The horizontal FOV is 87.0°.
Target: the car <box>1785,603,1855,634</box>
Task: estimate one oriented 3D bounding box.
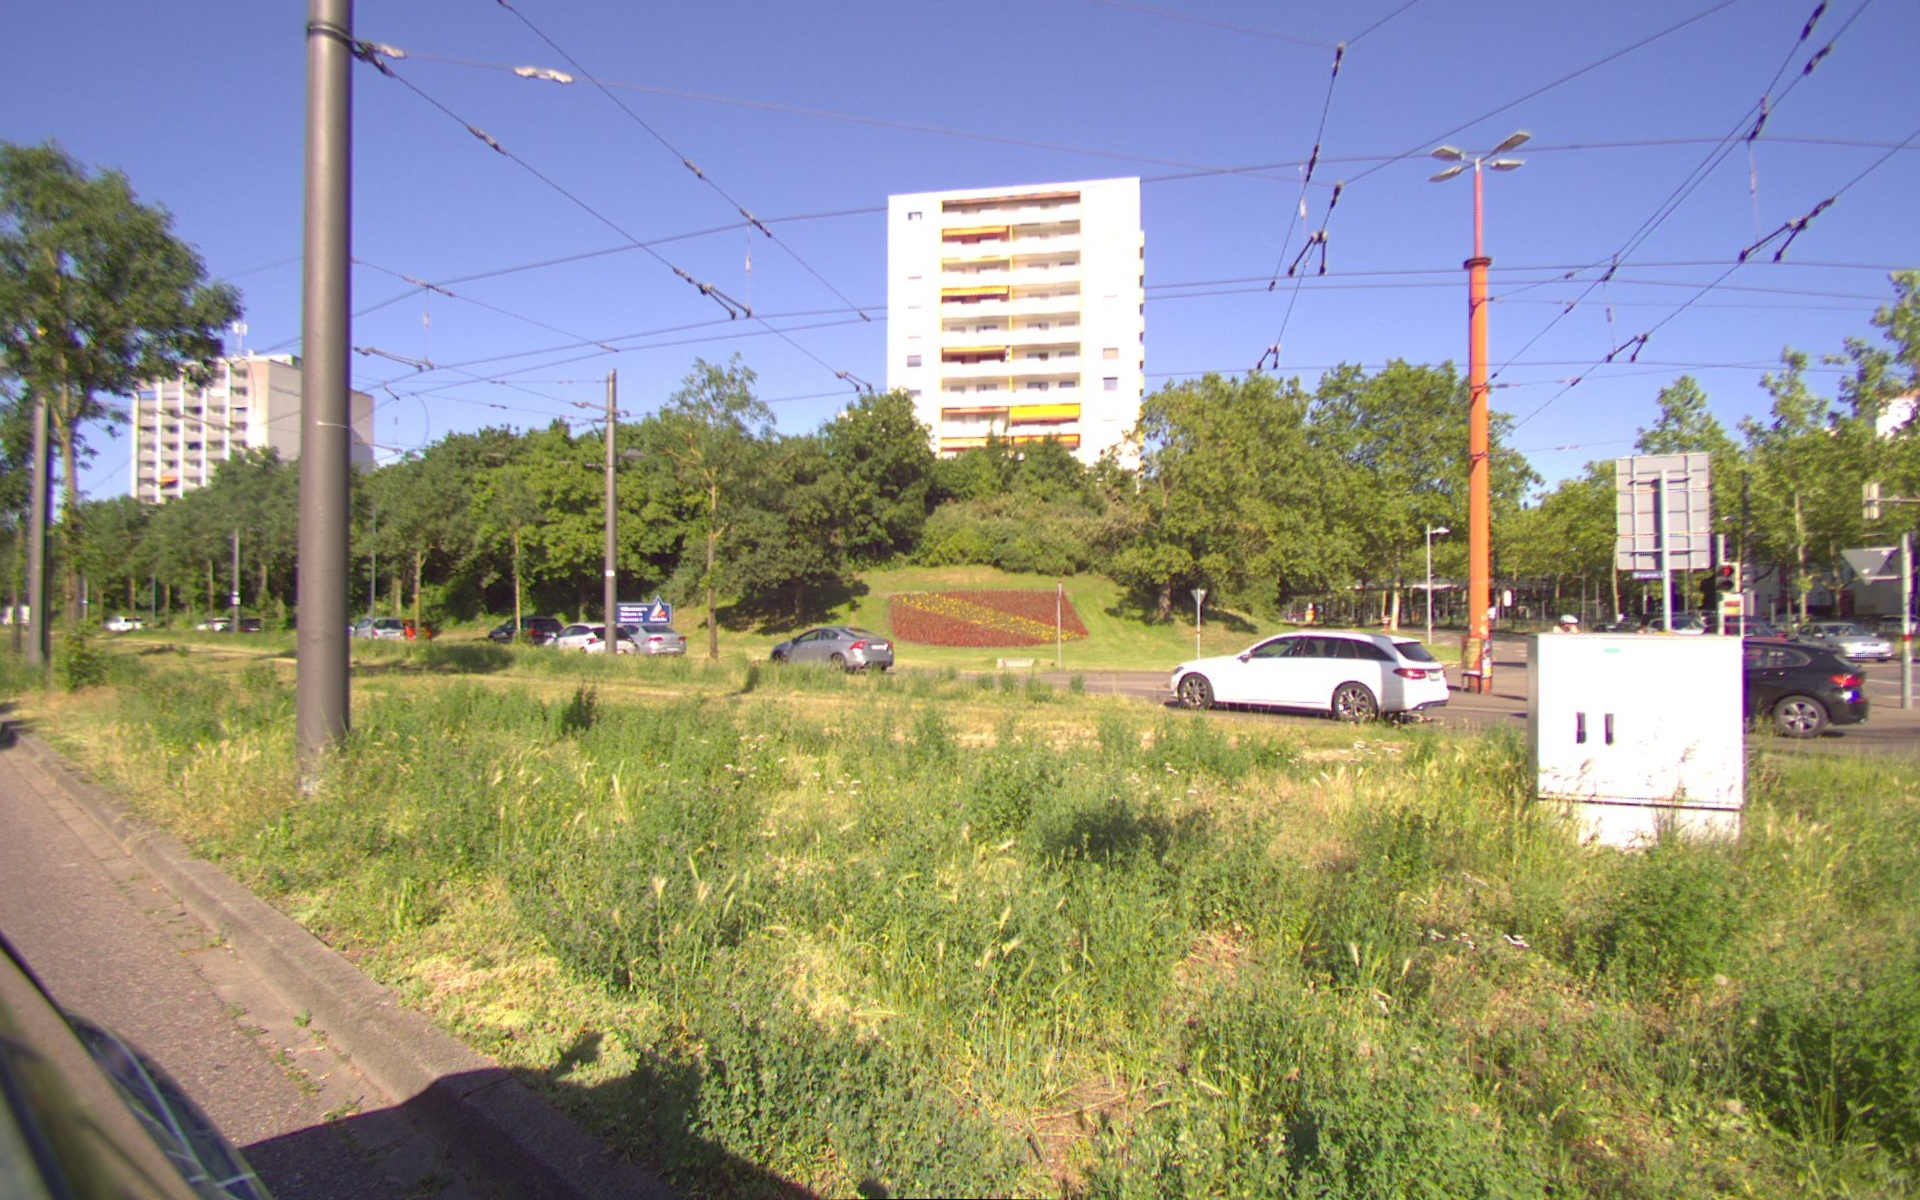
[{"bbox_3d":[59.670,1.298,70.329,1.982,2.029,4.385,-1,-1,15],"label":"car"}]

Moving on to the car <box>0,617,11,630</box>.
[{"bbox_3d":[-120.304,2.946,126.548,5.272,1.596,1.972,-1,0,43],"label":"car"}]

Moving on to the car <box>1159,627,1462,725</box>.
[{"bbox_3d":[5.871,1.201,17.344,4.642,1.434,1.685,-1,-2,42],"label":"car"}]

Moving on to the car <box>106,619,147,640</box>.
[{"bbox_3d":[-68.768,2.441,83.484,4.654,1.634,1.875,-1,0,41],"label":"car"}]

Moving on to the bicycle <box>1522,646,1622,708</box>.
[{"bbox_3d":[12.254,1.511,20.359,0.467,1.089,2.362,-1,0,-3],"label":"bicycle"}]

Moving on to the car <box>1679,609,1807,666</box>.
[{"bbox_3d":[28.657,1.327,37.228,1.979,1.915,4.259,-1,0,11],"label":"car"}]

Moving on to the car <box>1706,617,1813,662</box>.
[{"bbox_3d":[33.527,1.616,42.603,1.893,1.763,3.985,-1,0,11],"label":"car"}]

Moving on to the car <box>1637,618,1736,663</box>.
[{"bbox_3d":[30.693,1.661,42.904,1.893,1.763,3.985,-1,0,11],"label":"car"}]

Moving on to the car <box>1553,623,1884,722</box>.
[{"bbox_3d":[11.936,1.067,16.107,4.030,1.352,1.841,-1,-2,42],"label":"car"}]

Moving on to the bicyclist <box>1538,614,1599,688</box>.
[{"bbox_3d":[12.235,1.012,20.361,0.741,1.441,0.757,-1,0,-2],"label":"bicyclist"}]

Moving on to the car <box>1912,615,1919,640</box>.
[{"bbox_3d":[64.120,1.757,65.032,1.864,1.608,4.010,0,0,-34],"label":"car"}]

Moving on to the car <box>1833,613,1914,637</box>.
[{"bbox_3d":[65.510,1.773,72.638,1.864,1.608,4.010,0,0,-34],"label":"car"}]

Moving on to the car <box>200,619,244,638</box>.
[{"bbox_3d":[-57.489,2.175,78.800,4.542,1.408,1.879,-1,0,42],"label":"car"}]

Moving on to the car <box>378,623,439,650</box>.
[{"bbox_3d":[-29.714,1.933,54.459,4.177,1.307,1.639,-1,0,43],"label":"car"}]

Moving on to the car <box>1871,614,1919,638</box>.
[{"bbox_3d":[64.800,1.765,68.738,1.864,1.608,4.010,0,0,-34],"label":"car"}]

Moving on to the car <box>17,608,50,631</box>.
[{"bbox_3d":[-100.929,2.076,110.209,6.880,2.387,2.017,-1,0,43],"label":"car"}]

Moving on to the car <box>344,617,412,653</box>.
[{"bbox_3d":[-27.604,1.630,47.963,3.757,1.620,1.744,-1,-2,42],"label":"car"}]

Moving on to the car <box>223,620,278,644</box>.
[{"bbox_3d":[-45.292,1.992,64.576,4.992,1.420,1.971,-1,0,44],"label":"car"}]

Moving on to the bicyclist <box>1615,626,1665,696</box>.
[{"bbox_3d":[13.317,1.182,19.825,0.542,1.333,0.698,-1,0,8],"label":"bicyclist"}]

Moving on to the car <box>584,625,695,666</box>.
[{"bbox_3d":[-12.336,1.697,38.781,4.693,1.443,1.972,-1,-2,42],"label":"car"}]

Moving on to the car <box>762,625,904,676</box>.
[{"bbox_3d":[-3.937,1.491,30.974,4.400,1.384,1.972,-1,0,43],"label":"car"}]

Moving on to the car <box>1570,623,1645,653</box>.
[{"bbox_3d":[31.616,1.849,49.533,1.718,1.332,3.985,-1,0,11],"label":"car"}]

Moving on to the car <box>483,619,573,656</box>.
[{"bbox_3d":[-19.208,1.632,44.914,4.631,1.492,1.972,-1,0,43],"label":"car"}]

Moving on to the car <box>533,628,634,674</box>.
[{"bbox_3d":[-12.931,1.736,34.667,4.183,1.484,1.571,-3,-4,44],"label":"car"}]

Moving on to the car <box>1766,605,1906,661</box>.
[{"bbox_3d":[31.918,1.165,37.041,1.979,1.915,4.259,-1,0,11],"label":"car"}]
